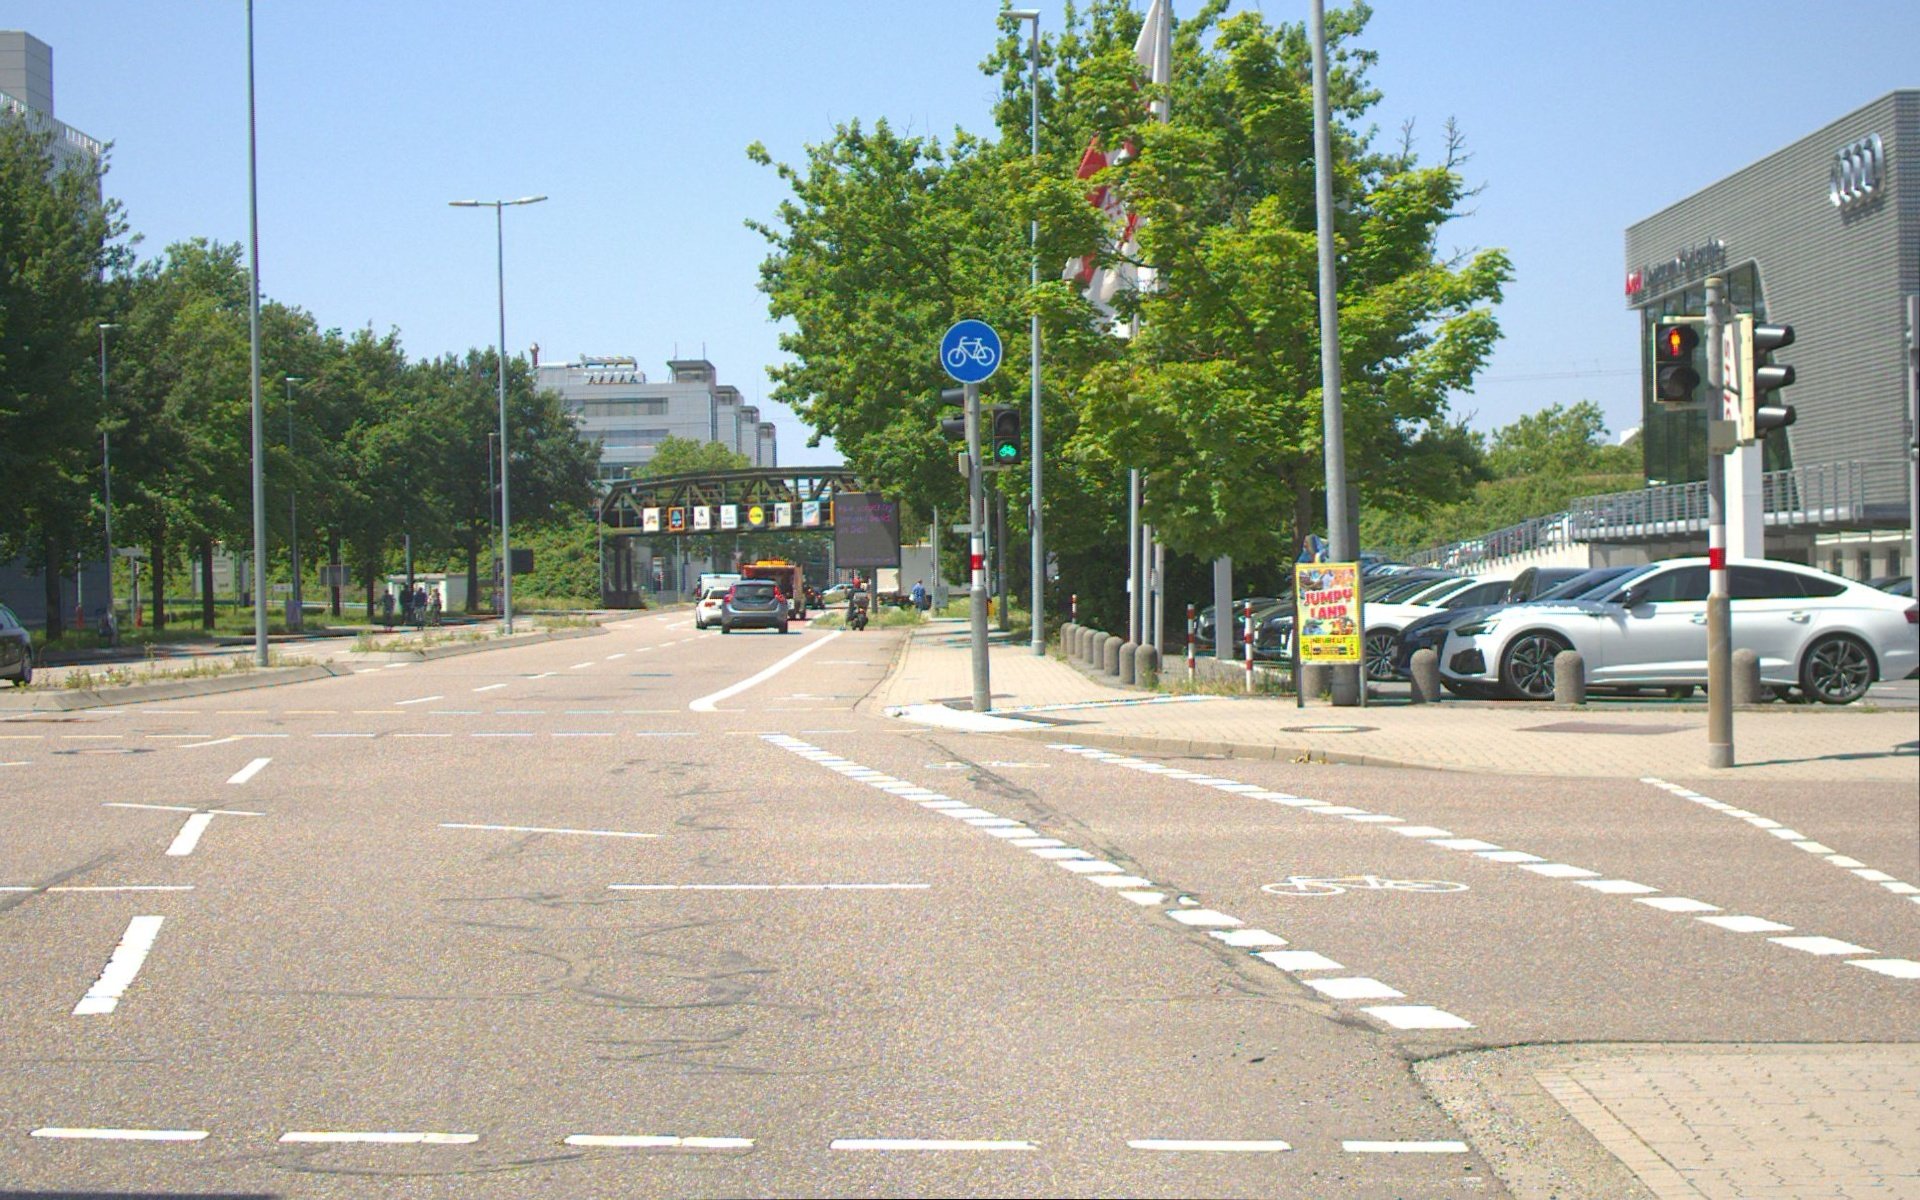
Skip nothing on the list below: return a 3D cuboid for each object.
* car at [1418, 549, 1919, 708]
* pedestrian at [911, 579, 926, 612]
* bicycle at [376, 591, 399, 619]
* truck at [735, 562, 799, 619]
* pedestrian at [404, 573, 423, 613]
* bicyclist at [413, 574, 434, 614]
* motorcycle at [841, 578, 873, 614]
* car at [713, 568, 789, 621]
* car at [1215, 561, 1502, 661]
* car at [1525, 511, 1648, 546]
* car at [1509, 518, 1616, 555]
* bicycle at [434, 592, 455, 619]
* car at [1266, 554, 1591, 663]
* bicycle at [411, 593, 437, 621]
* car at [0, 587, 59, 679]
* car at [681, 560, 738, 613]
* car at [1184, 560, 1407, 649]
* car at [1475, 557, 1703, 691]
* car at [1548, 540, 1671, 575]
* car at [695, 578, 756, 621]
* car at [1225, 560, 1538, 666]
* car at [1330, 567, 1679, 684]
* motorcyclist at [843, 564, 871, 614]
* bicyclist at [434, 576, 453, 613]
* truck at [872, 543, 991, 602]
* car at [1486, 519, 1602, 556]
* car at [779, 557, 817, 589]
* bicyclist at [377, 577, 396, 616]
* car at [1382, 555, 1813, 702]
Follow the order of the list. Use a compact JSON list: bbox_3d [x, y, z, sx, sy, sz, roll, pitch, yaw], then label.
[{"bbox_3d":[6.851,0.263,33.275,4.592,1.385,1.869,1,0,2],"label":"car"},{"bbox_3d":[-1.712,-0.179,141.691,0.623,1.370,0.564,-1,0,-2],"label":"pedestrian"},{"bbox_3d":[-23.590,0.221,141.598,0.637,1.130,1.971,-1,0,-1],"label":"bicycle"},{"bbox_3d":[-8.441,-0.439,151.010,2.458,2.402,7.134,1,1,-1],"label":"truck"},{"bbox_3d":[-25.896,-0.337,162.904,0.743,1.878,0.577,-1,0,0],"label":"pedestrian"},{"bbox_3d":[-22.440,-0.261,143.790,0.745,1.680,0.952,-1,0,-2],"label":"bicyclist"},{"bbox_3d":[-3.183,-0.130,105.961,0.716,1.101,1.831,1,0,-10],"label":"motorcycle"},{"bbox_3d":[-5.746,-0.159,94.795,1.900,1.371,4.232,-1,0,-1],"label":"car"},{"bbox_3d":[6.018,0.157,52.223,4.101,1.400,1.869,1,0,0],"label":"car"},{"bbox_3d":[21.999,-2.498,120.745,3.938,1.207,1.718,0,0,-5],"label":"car"},{"bbox_3d":[21.890,-2.303,124.993,3.523,1.235,1.677,1,0,-5],"label":"car"},{"bbox_3d":[-23.289,0.236,155.315,0.629,1.155,2.117,-3,0,-1],"label":"bicycle"},{"bbox_3d":[6.296,0.111,46.477,4.099,1.344,1.869,1,0,0],"label":"car"},{"bbox_3d":[-22.436,0.285,143.906,0.739,1.121,2.435,-1,0,-2],"label":"bicycle"},{"bbox_3d":[-15.951,0.559,54.785,1.726,1.441,4.719,-3,0,2],"label":"car"},{"bbox_3d":[-9.686,-0.528,133.376,1.993,2.007,4.000,-1,0,-1],"label":"car"},{"bbox_3d":[5.853,0.075,60.216,3.681,1.448,1.834,1,0,0],"label":"car"},{"bbox_3d":[7.212,0.251,39.848,1.863,1.415,4.662,1,0,1],"label":"car"},{"bbox_3d":[21.803,-1.421,115.490,3.724,1.127,1.684,1,0,-5],"label":"car"},{"bbox_3d":[-8.026,-0.032,117.977,1.924,1.415,4.000,0,0,-1],"label":"car"},{"bbox_3d":[6.006,0.178,49.384,4.226,1.385,1.869,1,0,0],"label":"car"},{"bbox_3d":[6.872,0.309,43.699,4.096,1.360,1.874,1,0,0],"label":"car"},{"bbox_3d":[-3.186,-0.341,106.063,0.719,1.524,0.871,1,0,-10],"label":"motorcyclist"},{"bbox_3d":[-23.311,-0.239,155.235,0.633,1.623,1.045,-3,0,-1],"label":"bicyclist"},{"bbox_3d":[-1.391,-1.349,171.175,5.599,2.841,2.622,0,1,-43],"label":"truck"},{"bbox_3d":[21.955,-2.339,129.301,3.986,1.307,1.798,1,0,-5],"label":"car"},{"bbox_3d":[-10.296,-1.725,218.989,1.994,2.007,4.000,-2,0,2],"label":"car"},{"bbox_3d":[-23.607,-0.141,141.530,0.637,1.577,0.884,-1,0,-1],"label":"bicyclist"},{"bbox_3d":[6.566,0.283,35.728,4.096,1.385,1.869,1,0,0],"label":"car"}]
